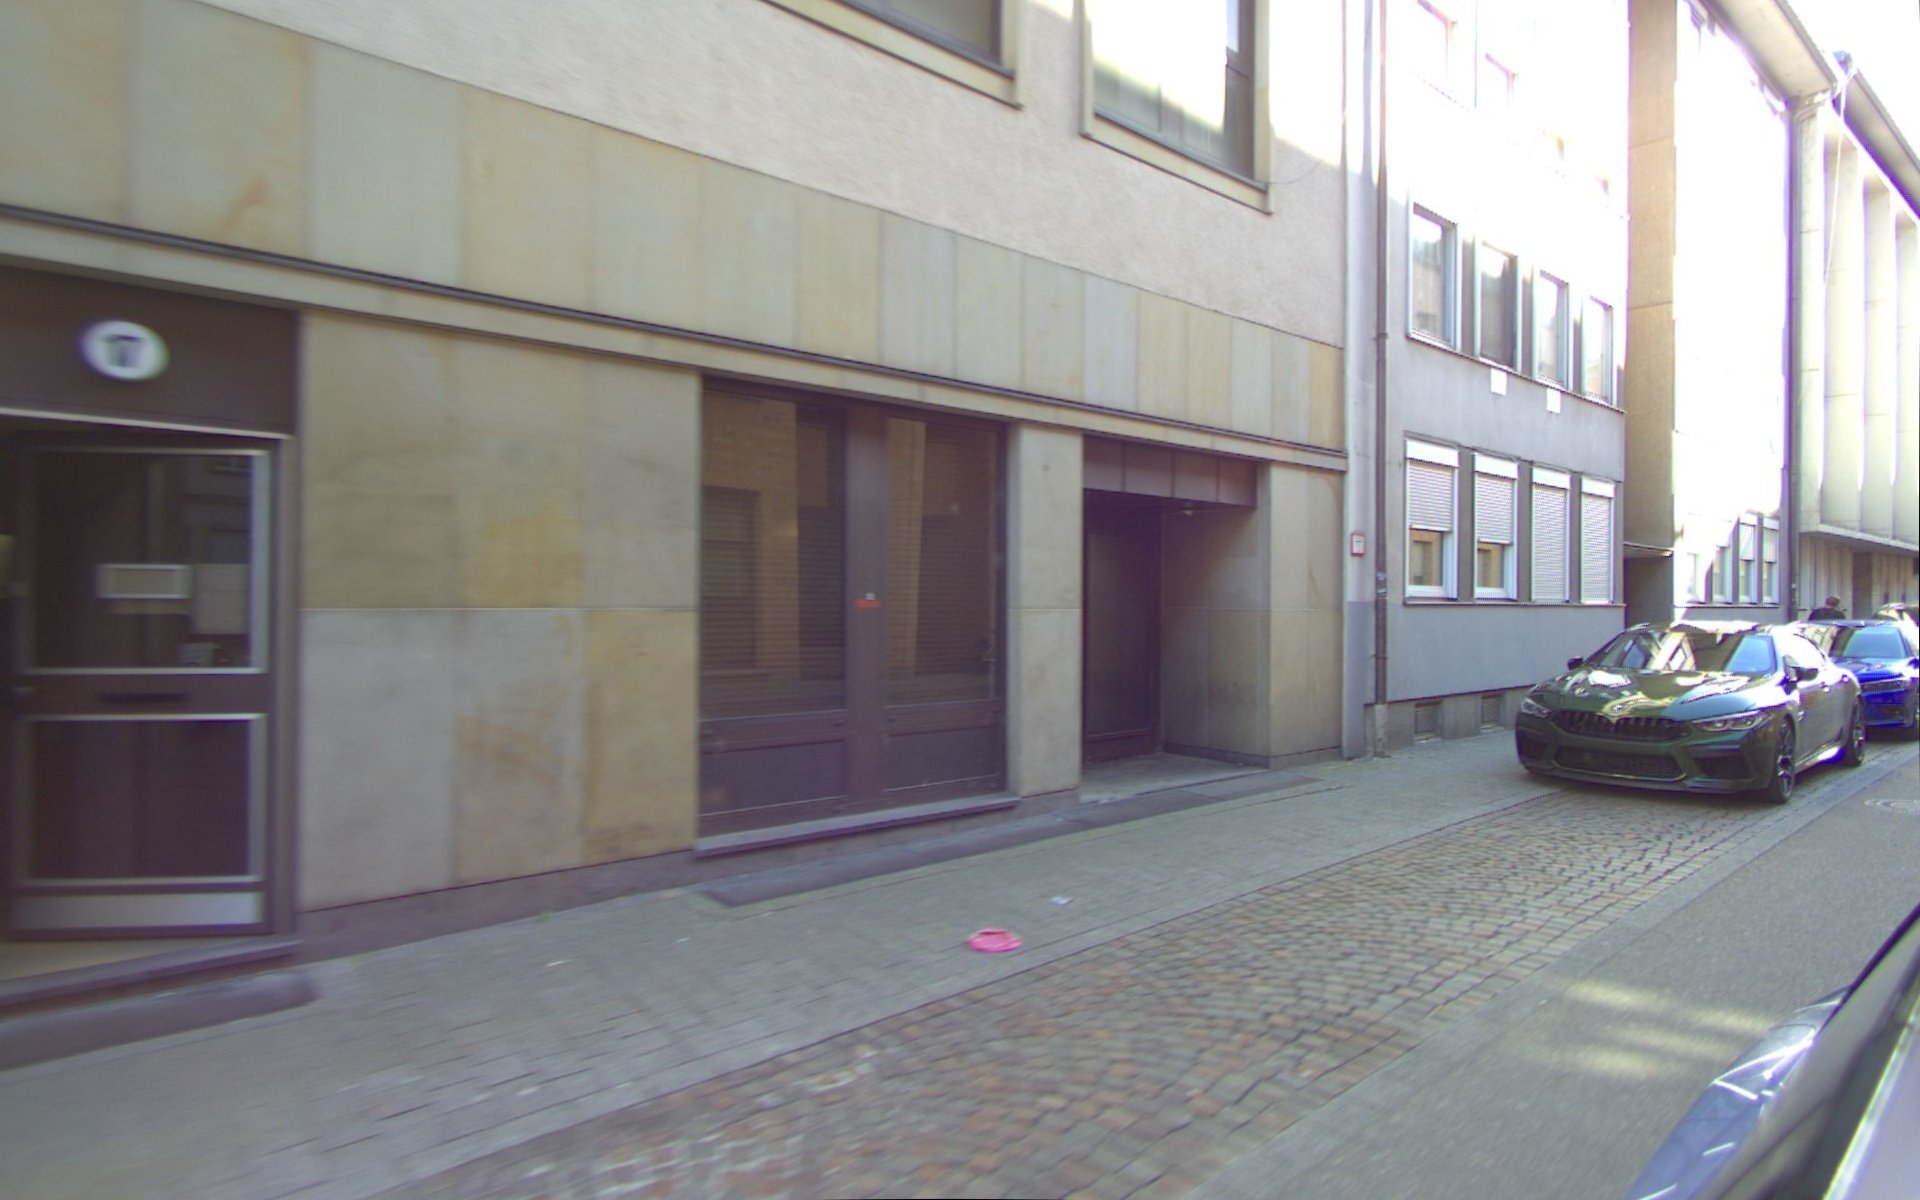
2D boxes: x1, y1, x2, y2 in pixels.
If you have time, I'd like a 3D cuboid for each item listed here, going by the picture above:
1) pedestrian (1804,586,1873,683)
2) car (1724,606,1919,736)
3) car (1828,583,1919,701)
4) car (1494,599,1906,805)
[{"bbox_3d":[16.342,0.620,18.838,0.733,1.742,0.791,1,2,-38],"label":"pedestrian"},{"bbox_3d":[11.833,0.811,13.286,4.704,1.431,1.810,0,-2,-40],"label":"car"},{"bbox_3d":[16.624,0.643,17.014,4.958,1.809,2.108,0,-1,-38],"label":"car"},{"bbox_3d":[7.195,0.748,9.600,5.131,1.472,1.898,0,-1,-39],"label":"car"}]
